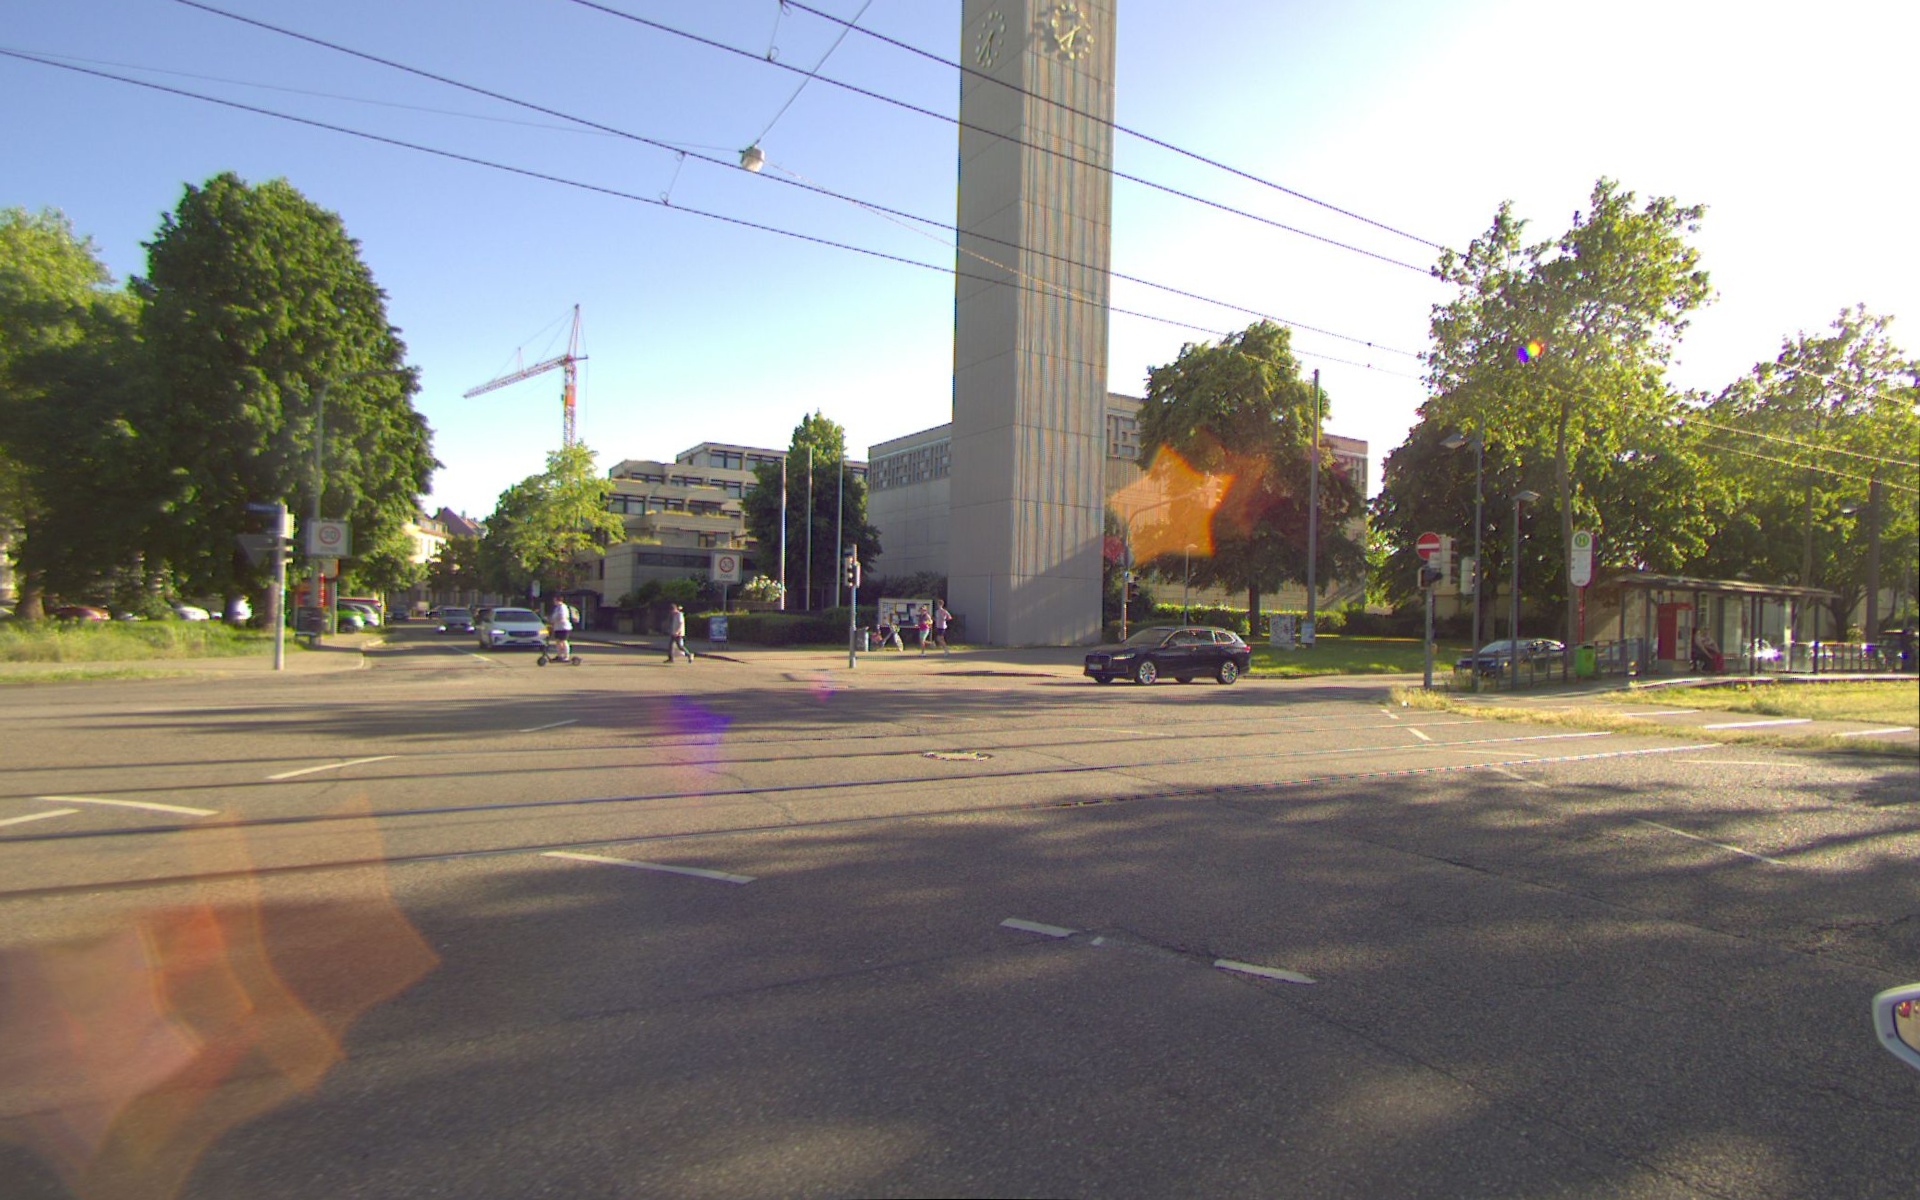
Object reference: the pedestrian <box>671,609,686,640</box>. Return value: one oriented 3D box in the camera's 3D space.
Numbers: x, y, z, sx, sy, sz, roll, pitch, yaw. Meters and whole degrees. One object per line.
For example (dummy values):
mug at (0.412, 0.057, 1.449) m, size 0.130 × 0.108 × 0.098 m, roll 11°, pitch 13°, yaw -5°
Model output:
pedestrian at (-13.581, 1.188, 48.428) m, size 0.540 × 1.486 × 0.863 m, roll 2°, pitch -1°, yaw -27°

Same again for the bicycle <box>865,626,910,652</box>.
bicycle at (-2.687, 1.463, 37.412) m, size 1.681 × 0.940 × 0.443 m, roll 2°, pitch -1°, yaw -33°

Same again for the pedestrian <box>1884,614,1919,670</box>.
pedestrian at (32.453, 1.428, 34.629) m, size 0.629 × 1.892 × 0.717 m, roll 1°, pitch 0°, yaw -28°

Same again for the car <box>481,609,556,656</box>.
car at (-15.545, 1.105, 35.248) m, size 1.976 × 1.506 × 4.494 m, roll 1°, pitch -1°, yaw -29°

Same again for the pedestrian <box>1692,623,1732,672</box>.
pedestrian at (21.601, 1.355, 28.856) m, size 0.725 × 1.359 × 0.691 m, roll 2°, pitch -1°, yaw -28°

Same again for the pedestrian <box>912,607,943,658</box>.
pedestrian at (-1.133, 1.140, 35.239) m, size 0.871 × 1.746 × 0.590 m, roll 1°, pitch -1°, yaw -35°

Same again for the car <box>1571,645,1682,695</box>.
car at (20.879, 2.148, 31.458) m, size 3.497 × 1.446 × 1.597 m, roll 2°, pitch -1°, yaw -32°

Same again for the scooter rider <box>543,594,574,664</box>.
scooter rider at (-10.021, 0.718, 25.072) m, size 0.568 × 1.718 × 0.590 m, roll 1°, pitch -1°, yaw -35°

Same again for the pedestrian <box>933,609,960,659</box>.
pedestrian at (-0.468, 1.165, 34.739) m, size 0.740 × 1.704 × 0.590 m, roll 1°, pitch -1°, yaw -35°

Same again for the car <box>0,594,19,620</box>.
car at (-59.261, 0.386, 60.003) m, size 3.872 × 1.572 × 1.992 m, roll 2°, pitch -1°, yaw -18°

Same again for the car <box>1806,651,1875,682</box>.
car at (46.125, 3.474, 52.617) m, size 3.973 × 1.508 × 1.586 m, roll 2°, pitch -1°, yaw -30°

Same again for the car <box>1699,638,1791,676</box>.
car at (31.975, 2.311, 40.912) m, size 3.882 × 1.463 × 1.587 m, roll 1°, pitch -1°, yaw -29°

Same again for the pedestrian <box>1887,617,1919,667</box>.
pedestrian at (33.184, 1.452, 35.149) m, size 0.745 × 1.712 × 0.879 m, roll 1°, pitch 0°, yaw -28°

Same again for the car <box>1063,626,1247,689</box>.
car at (5.001, 1.426, 25.618) m, size 4.478 × 1.461 × 1.940 m, roll 2°, pitch -1°, yaw -31°

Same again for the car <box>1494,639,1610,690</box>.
car at (15.540, 1.673, 26.355) m, size 2.929 × 1.220 × 1.319 m, roll 2°, pitch -1°, yaw -29°

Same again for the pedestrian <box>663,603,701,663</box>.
pedestrian at (-7.984, 0.944, 28.878) m, size 0.871 × 1.718 × 0.590 m, roll 1°, pitch -1°, yaw -35°

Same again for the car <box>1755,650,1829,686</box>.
car at (40.692, 3.288, 49.121) m, size 3.884 × 1.657 × 1.586 m, roll 2°, pitch -1°, yaw -30°

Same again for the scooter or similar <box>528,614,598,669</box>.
scooter or similar at (-9.923, 1.037, 25.145) m, size 1.525 × 1.327 × 0.592 m, roll 2°, pitch -1°, yaw -35°

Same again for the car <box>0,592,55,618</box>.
car at (-59.940, 0.307, 63.204) m, size 3.872 × 1.572 × 1.992 m, roll 2°, pitch -1°, yaw -18°

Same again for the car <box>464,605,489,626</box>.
car at (-48.930, 1.594, 101.600) m, size 1.976 × 2.057 × 4.494 m, roll 1°, pitch -1°, yaw -29°

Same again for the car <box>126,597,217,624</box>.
car at (-48.419, 0.647, 61.756) m, size 3.872 × 1.572 × 1.992 m, roll 2°, pitch -1°, yaw -18°

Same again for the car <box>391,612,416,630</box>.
car at (-51.678, 1.955, 93.344) m, size 1.976 × 1.576 × 4.494 m, roll 2°, pitch -1°, yaw -29°

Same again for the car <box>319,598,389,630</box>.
car at (-40.805, 0.949, 67.720) m, size 3.953 × 2.040 × 1.984 m, roll 2°, pitch 0°, yaw -30°

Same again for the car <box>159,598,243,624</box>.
car at (-49.941, 0.713, 66.155) m, size 3.865 × 1.572 × 1.996 m, roll 1°, pitch -1°, yaw -11°

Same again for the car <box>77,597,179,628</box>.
car at (-46.179, 0.701, 55.843) m, size 3.872 × 1.572 × 1.992 m, roll 2°, pitch -1°, yaw -18°

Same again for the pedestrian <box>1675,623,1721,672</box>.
pedestrian at (20.869, 1.332, 28.398) m, size 0.761 × 1.359 × 0.732 m, roll 1°, pitch -1°, yaw -15°

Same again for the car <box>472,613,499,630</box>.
car at (-43.904, 1.999, 92.874) m, size 1.976 × 1.481 × 4.494 m, roll 1°, pitch -1°, yaw -29°

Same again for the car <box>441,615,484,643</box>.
car at (-28.225, 1.629, 56.901) m, size 1.976 × 1.481 × 4.494 m, roll 2°, pitch -1°, yaw -29°
